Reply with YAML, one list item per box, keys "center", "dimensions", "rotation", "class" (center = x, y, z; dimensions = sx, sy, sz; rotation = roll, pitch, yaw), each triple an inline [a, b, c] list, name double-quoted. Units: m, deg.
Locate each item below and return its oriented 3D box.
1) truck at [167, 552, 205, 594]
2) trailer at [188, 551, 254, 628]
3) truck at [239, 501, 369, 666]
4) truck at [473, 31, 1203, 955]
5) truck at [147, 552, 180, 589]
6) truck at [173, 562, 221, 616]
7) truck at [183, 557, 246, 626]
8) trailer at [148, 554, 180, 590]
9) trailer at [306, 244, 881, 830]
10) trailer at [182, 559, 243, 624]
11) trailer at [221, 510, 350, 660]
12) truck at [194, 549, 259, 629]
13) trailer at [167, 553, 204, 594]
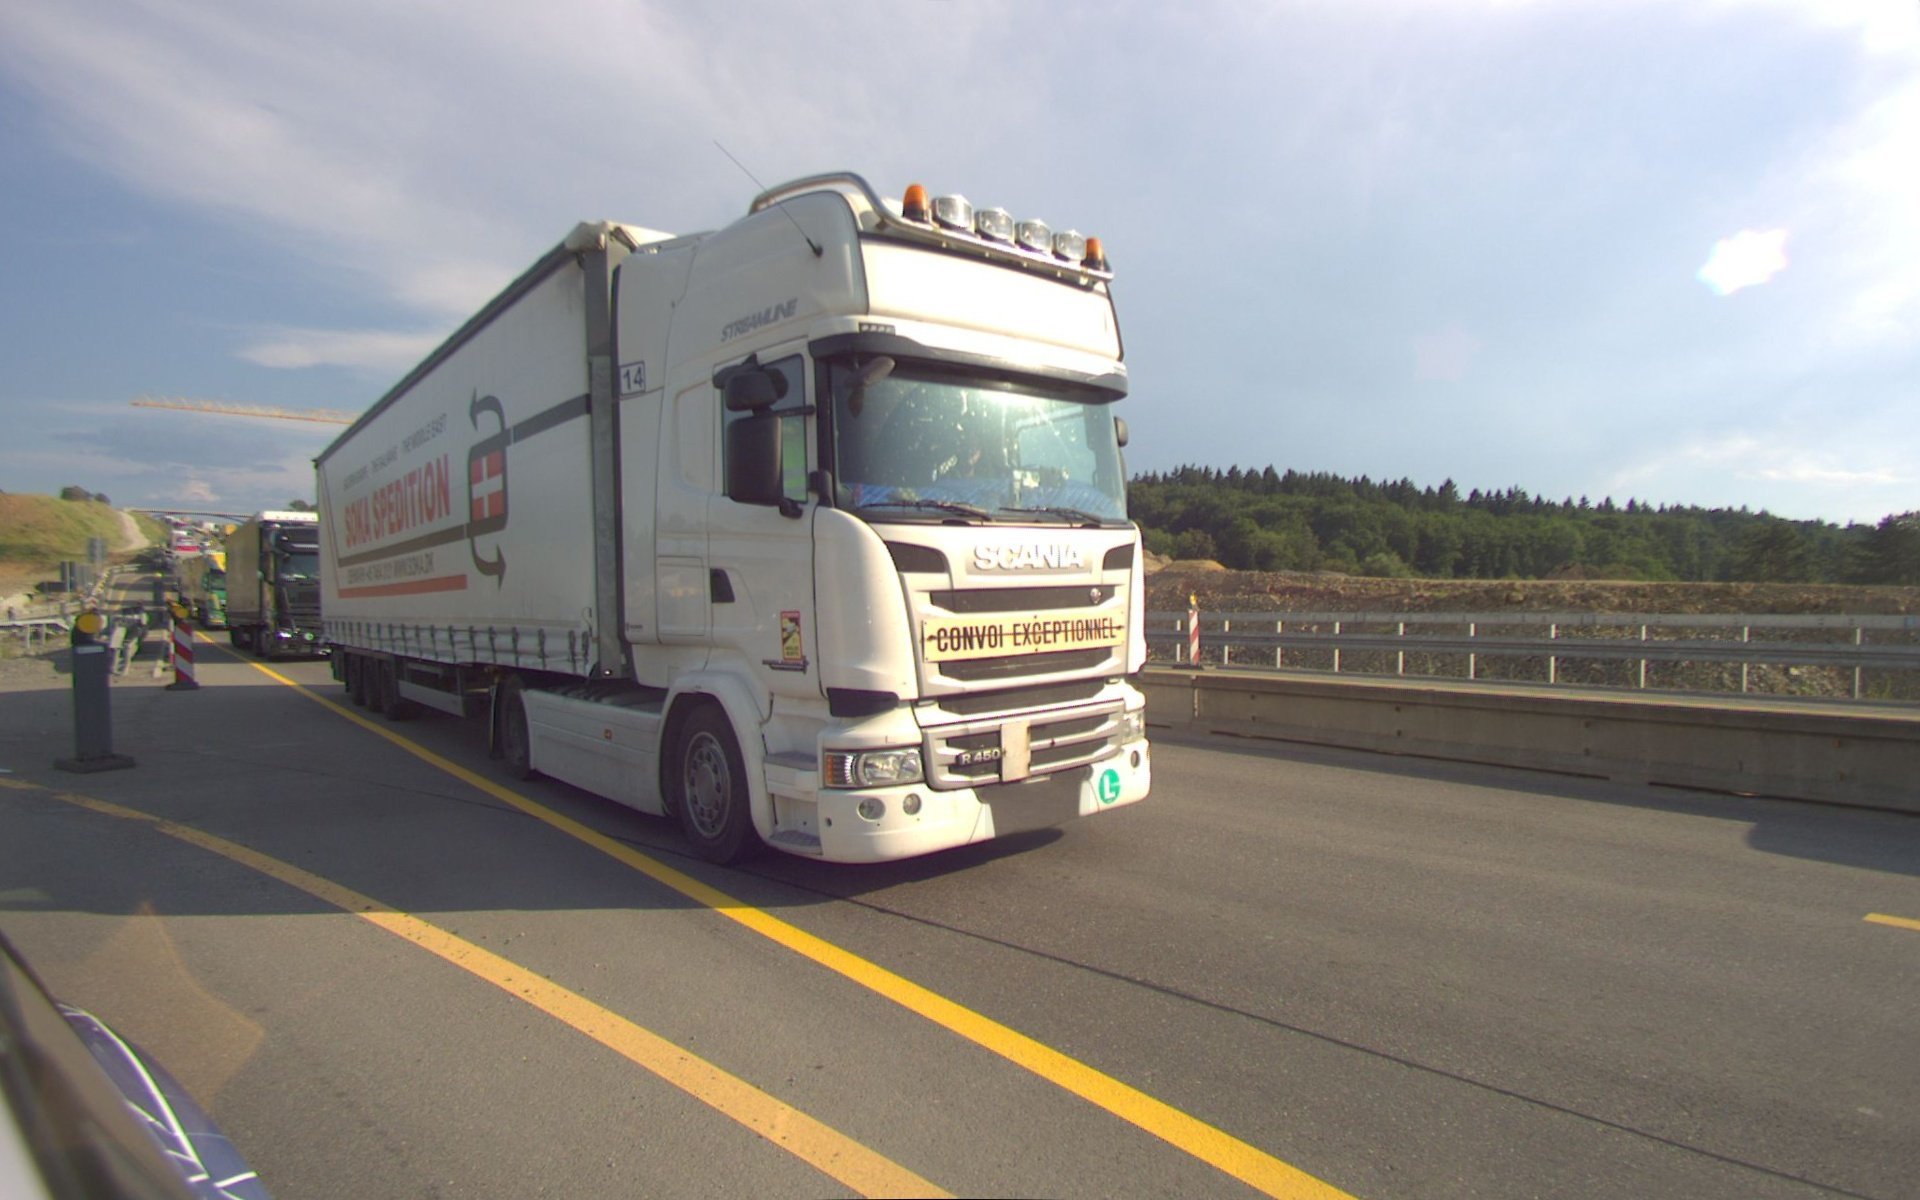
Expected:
- center: [-84.639, -2.873, 110.665]
  dimensions: [3.063, 4.347, 6.910]
  rotation: [2, -1, -38]
  class: "truck"
- center: [-42.689, -0.565, 58.269]
  dimensions: [2.449, 3.988, 14.003]
  rotation: [0, 0, -39]
  class: "trailer"
- center: [-18.457, -0.425, 28.317]
  dimensions: [2.449, 4.091, 6.023]
  rotation: [0, 0, -39]
  class: "truck"
- center: [-1.447, -0.462, 7.394]
  dimensions: [2.449, 3.907, 6.022]
  rotation: [0, 0, -39]
  class: "truck"
- center: [-100.409, -3.690, 127.592]
  dimensions: [3.063, 4.347, 6.910]
  rotation: [2, -1, -38]
  class: "truck"
- center: [-65.404, -0.873, 86.721]
  dimensions: [3.063, 4.347, 6.910]
  rotation: [2, -1, -38]
  class: "truck"
- center: [-50.462, -0.523, 68.418]
  dimensions: [3.063, 4.347, 6.910]
  rotation: [2, -1, -38]
  class: "truck"
- center: [-105.351, -3.587, 133.927]
  dimensions: [3.063, 4.347, 14.280]
  rotation: [2, -1, -38]
  class: "trailer"
- center: [-5.918, -0.447, 12.820]
  dimensions: [2.449, 3.907, 13.655]
  rotation: [0, 0, -39]
  class: "trailer"
- center: [-54.888, -0.550, 74.108]
  dimensions: [3.063, 4.347, 14.280]
  rotation: [2, -1, -38]
  class: "trailer"
- center: [-22.781, -0.448, 33.730]
  dimensions: [2.448, 4.092, 13.658]
  rotation: [0, 0, -38]
  class: "trailer"
- center: [-38.522, -0.550, 53.074]
  dimensions: [2.449, 3.931, 6.023]
  rotation: [0, 0, -39]
  class: "truck"
- center: [-89.188, -2.891, 116.477]
  dimensions: [3.063, 4.347, 14.280]
  rotation: [2, -1, -38]
  class: "trailer"
